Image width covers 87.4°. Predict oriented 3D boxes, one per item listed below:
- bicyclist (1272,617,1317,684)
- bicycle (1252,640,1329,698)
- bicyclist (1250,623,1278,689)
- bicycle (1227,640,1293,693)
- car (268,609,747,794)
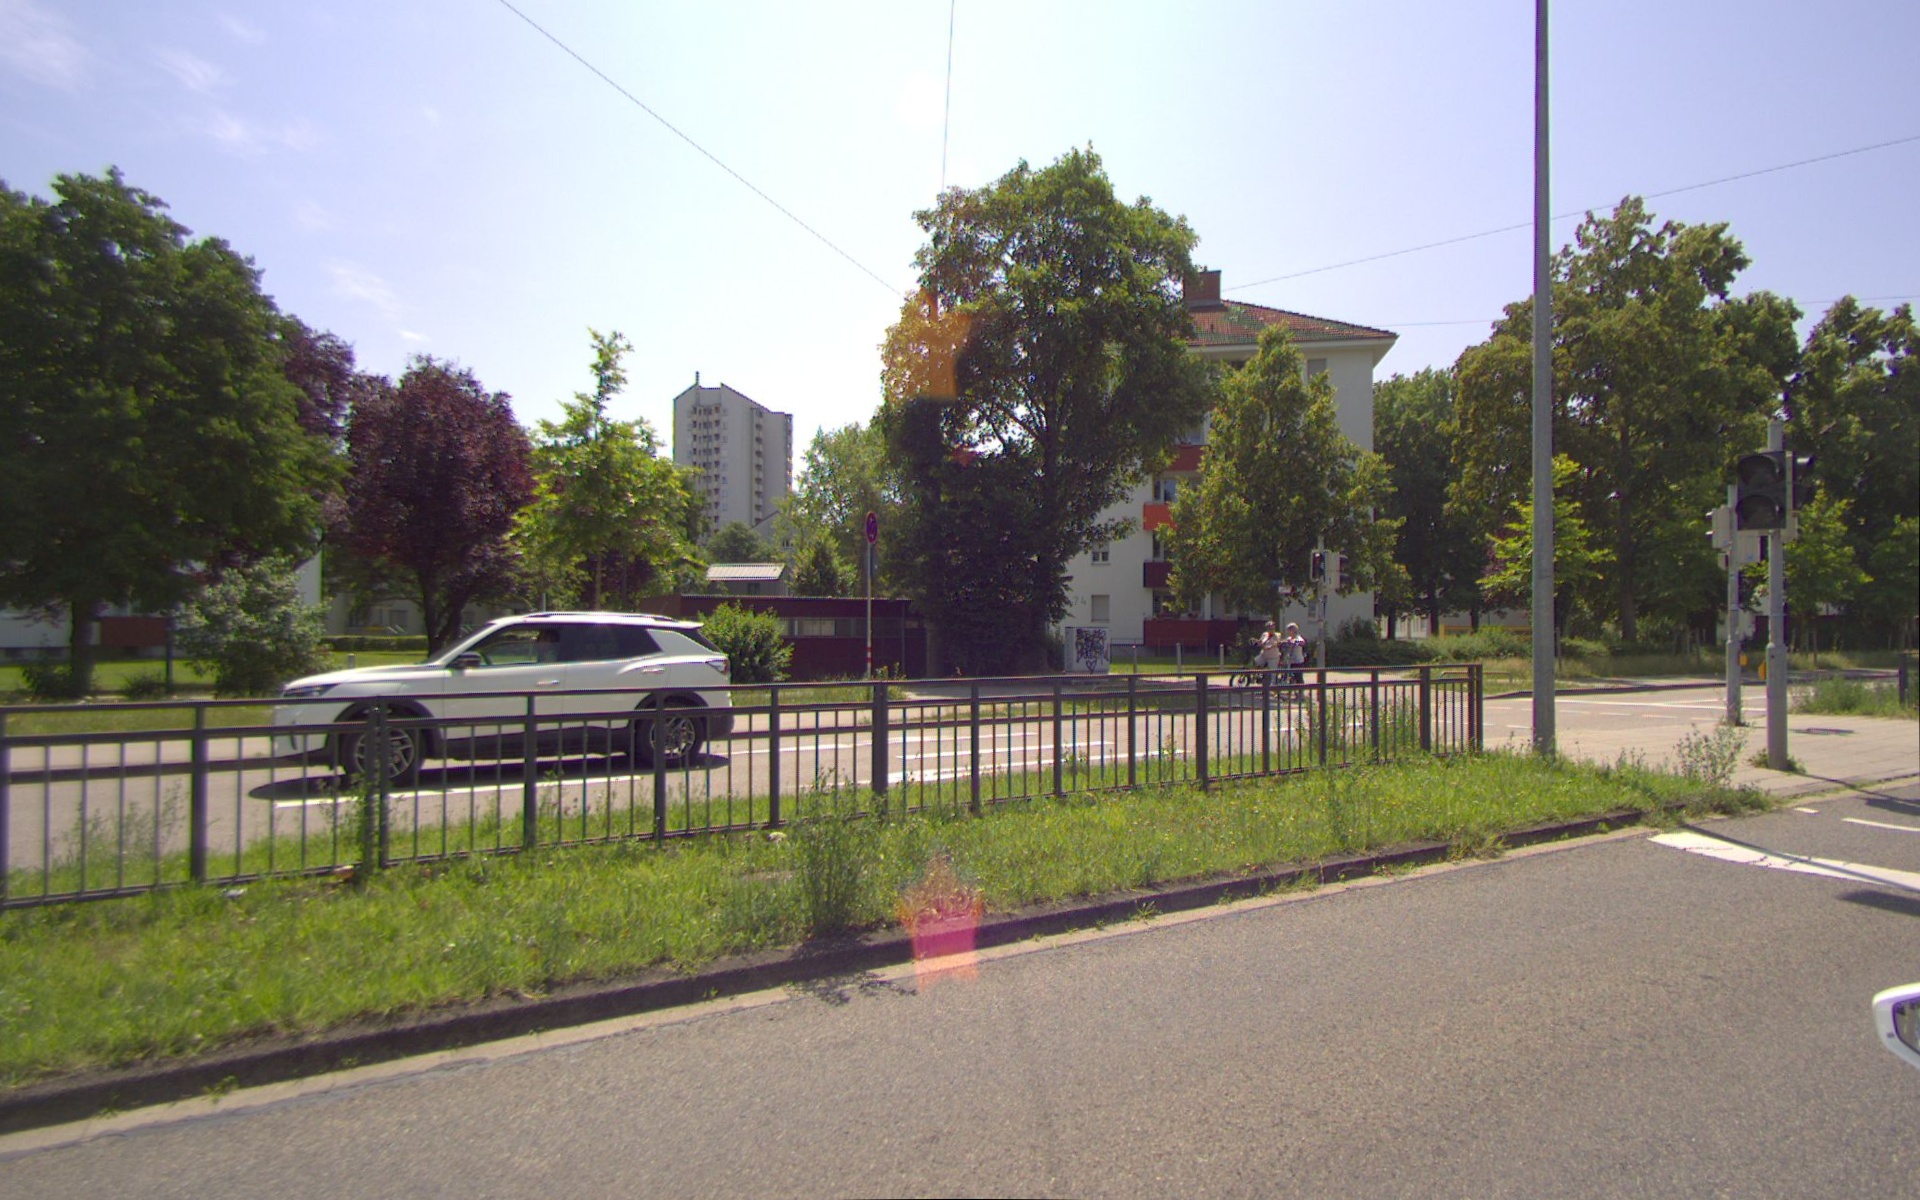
[{"bbox_3d":[6.969,1.038,20.932,0.746,1.363,0.542,1,-2,-30],"label":"bicyclist"},{"bbox_3d":[6.880,1.408,20.890,1.596,1.148,0.586,1,-2,-29],"label":"bicycle"},{"bbox_3d":[6.597,1.206,21.774,0.435,1.410,0.356,1,1,-27],"label":"bicyclist"},{"bbox_3d":[6.489,1.428,21.728,1.362,1.109,0.551,2,0,-28],"label":"bicycle"},{"bbox_3d":[-4.613,0.952,10.599,4.298,1.593,1.812,1,-3,-32],"label":"car"}]
